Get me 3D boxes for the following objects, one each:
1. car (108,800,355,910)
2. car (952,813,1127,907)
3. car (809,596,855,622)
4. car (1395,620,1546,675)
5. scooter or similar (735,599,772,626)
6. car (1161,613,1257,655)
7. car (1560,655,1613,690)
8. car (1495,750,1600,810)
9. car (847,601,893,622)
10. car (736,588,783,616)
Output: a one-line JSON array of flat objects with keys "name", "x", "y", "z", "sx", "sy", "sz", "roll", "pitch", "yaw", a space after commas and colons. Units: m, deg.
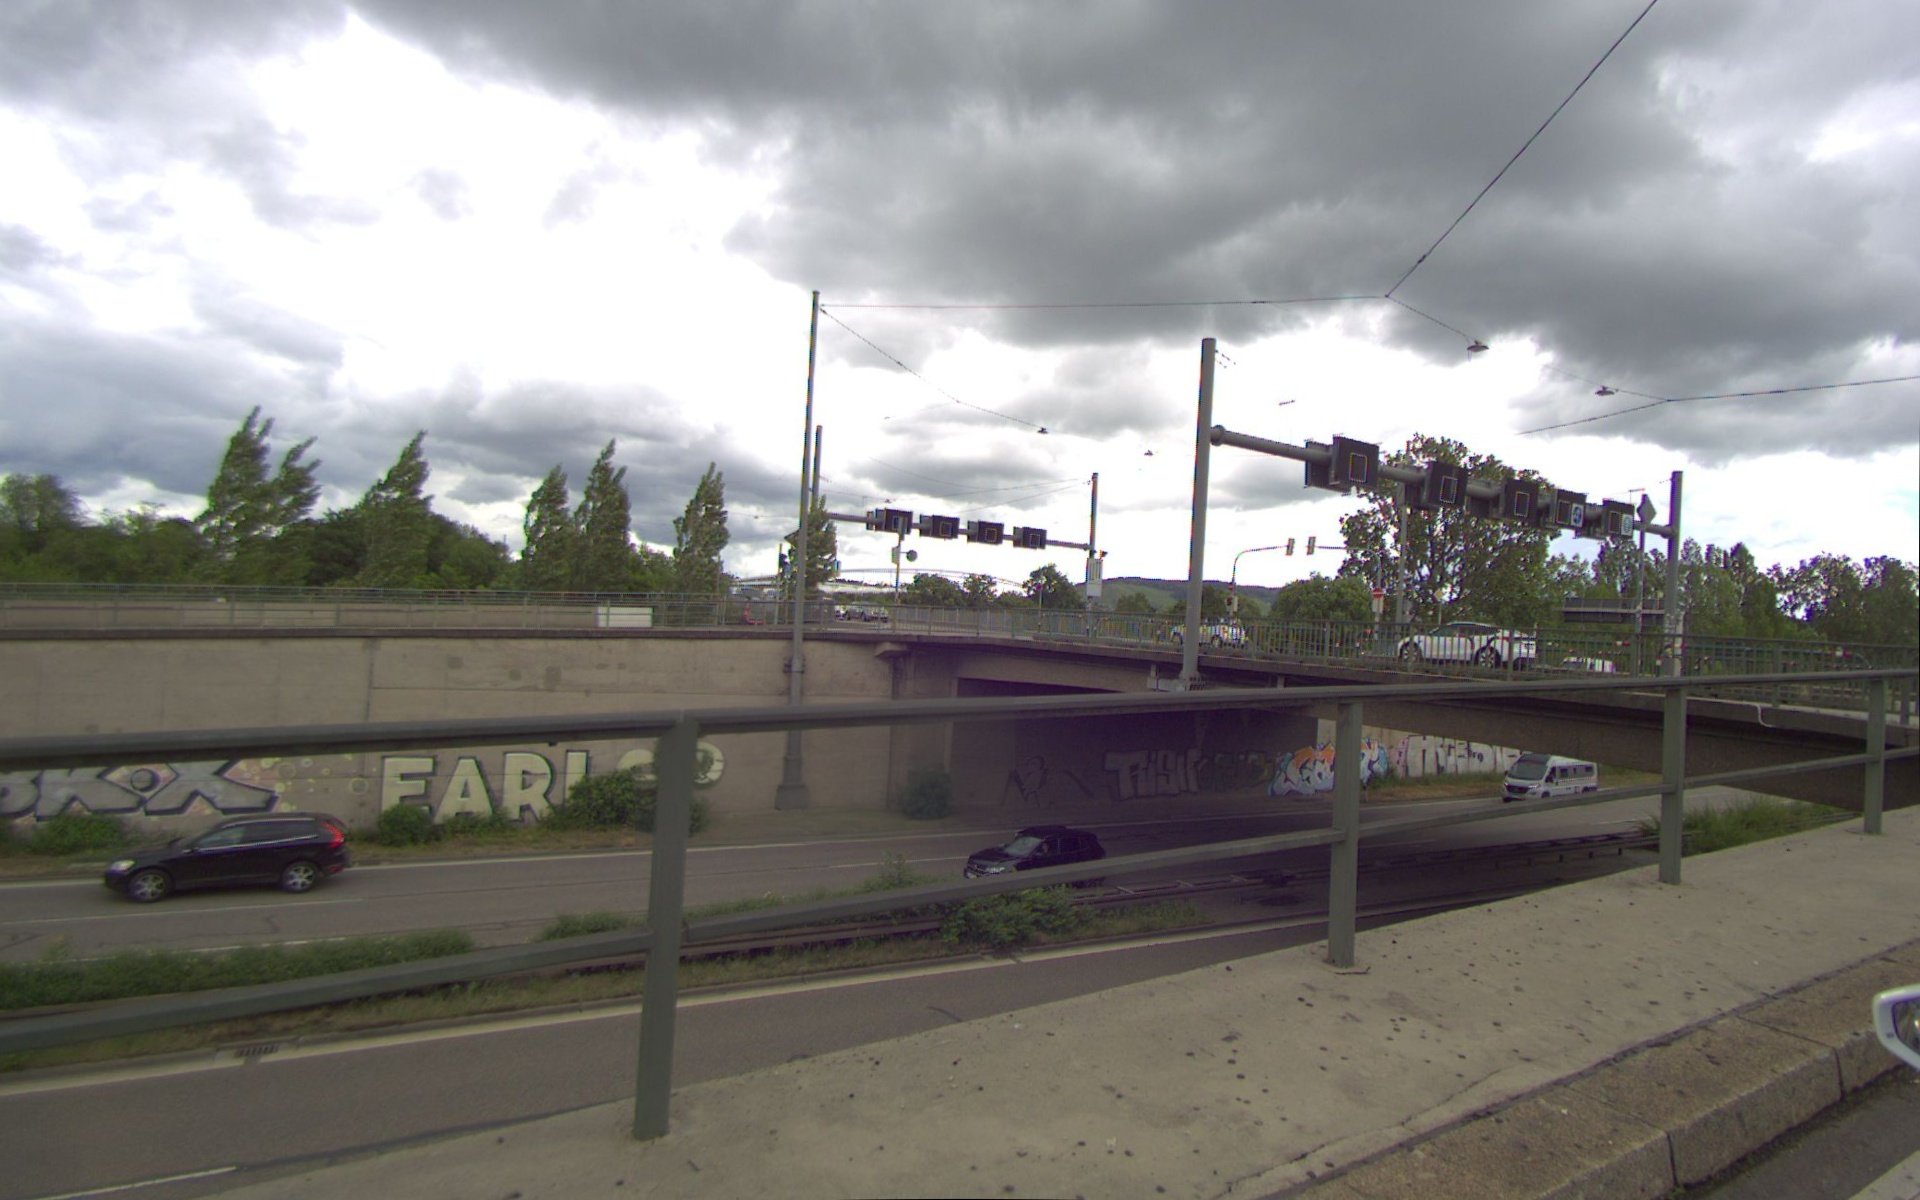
[{"name": "car", "x": -16.715, "y": 5.823, "z": 23.379, "sx": 4.360, "sy": 1.865, "sz": 1.921, "roll": 4, "pitch": -2, "yaw": -30}, {"name": "car", "x": 2.196, "y": 6.971, "z": 27.320, "sx": 4.374, "sy": 1.865, "sz": 1.984, "roll": 5, "pitch": -4, "yaw": -30}, {"name": "car", "x": -8.328, "y": 0.569, "z": 65.176, "sx": 1.560, "sy": 1.587, "sz": 3.715, "roll": 1, "pitch": 0, "yaw": -31}, {"name": "car", "x": 17.918, "y": 1.617, "z": 35.433, "sx": 1.918, "sy": 1.740, "sz": 4.363, "roll": 1, "pitch": -1, "yaw": -34}, {"name": "scooter or similar", "x": -8.897, "y": 0.560, "z": 43.298, "sx": 1.402, "sy": 1.108, "sz": 0.539, "roll": 3, "pitch": -2, "yaw": -34}, {"name": "car", "x": 11.186, "y": 1.500, "z": 45.302, "sx": 1.918, "sy": 1.740, "sz": 3.961, "roll": 1, "pitch": -1, "yaw": -35}, {"name": "car", "x": 43.813, "y": 5.005, "z": 70.250, "sx": 3.626, "sy": 2.245, "sz": 1.843, "roll": 1, "pitch": 0, "yaw": -35}, {"name": "car", "x": 30.235, "y": 9.166, "z": 51.656, "sx": 6.263, "sy": 2.567, "sz": 2.071, "roll": 4, "pitch": -3, "yaw": -33}, {"name": "car", "x": -5.991, "y": 0.764, "z": 66.414, "sx": 1.537, "sy": 1.372, "sz": 3.860, "roll": 1, "pitch": -1, "yaw": -31}, {"name": "car", "x": -14.819, "y": 0.146, "z": 74.094, "sx": 1.711, "sy": 2.040, "sz": 4.443, "roll": 1, "pitch": 0, "yaw": -35}]
